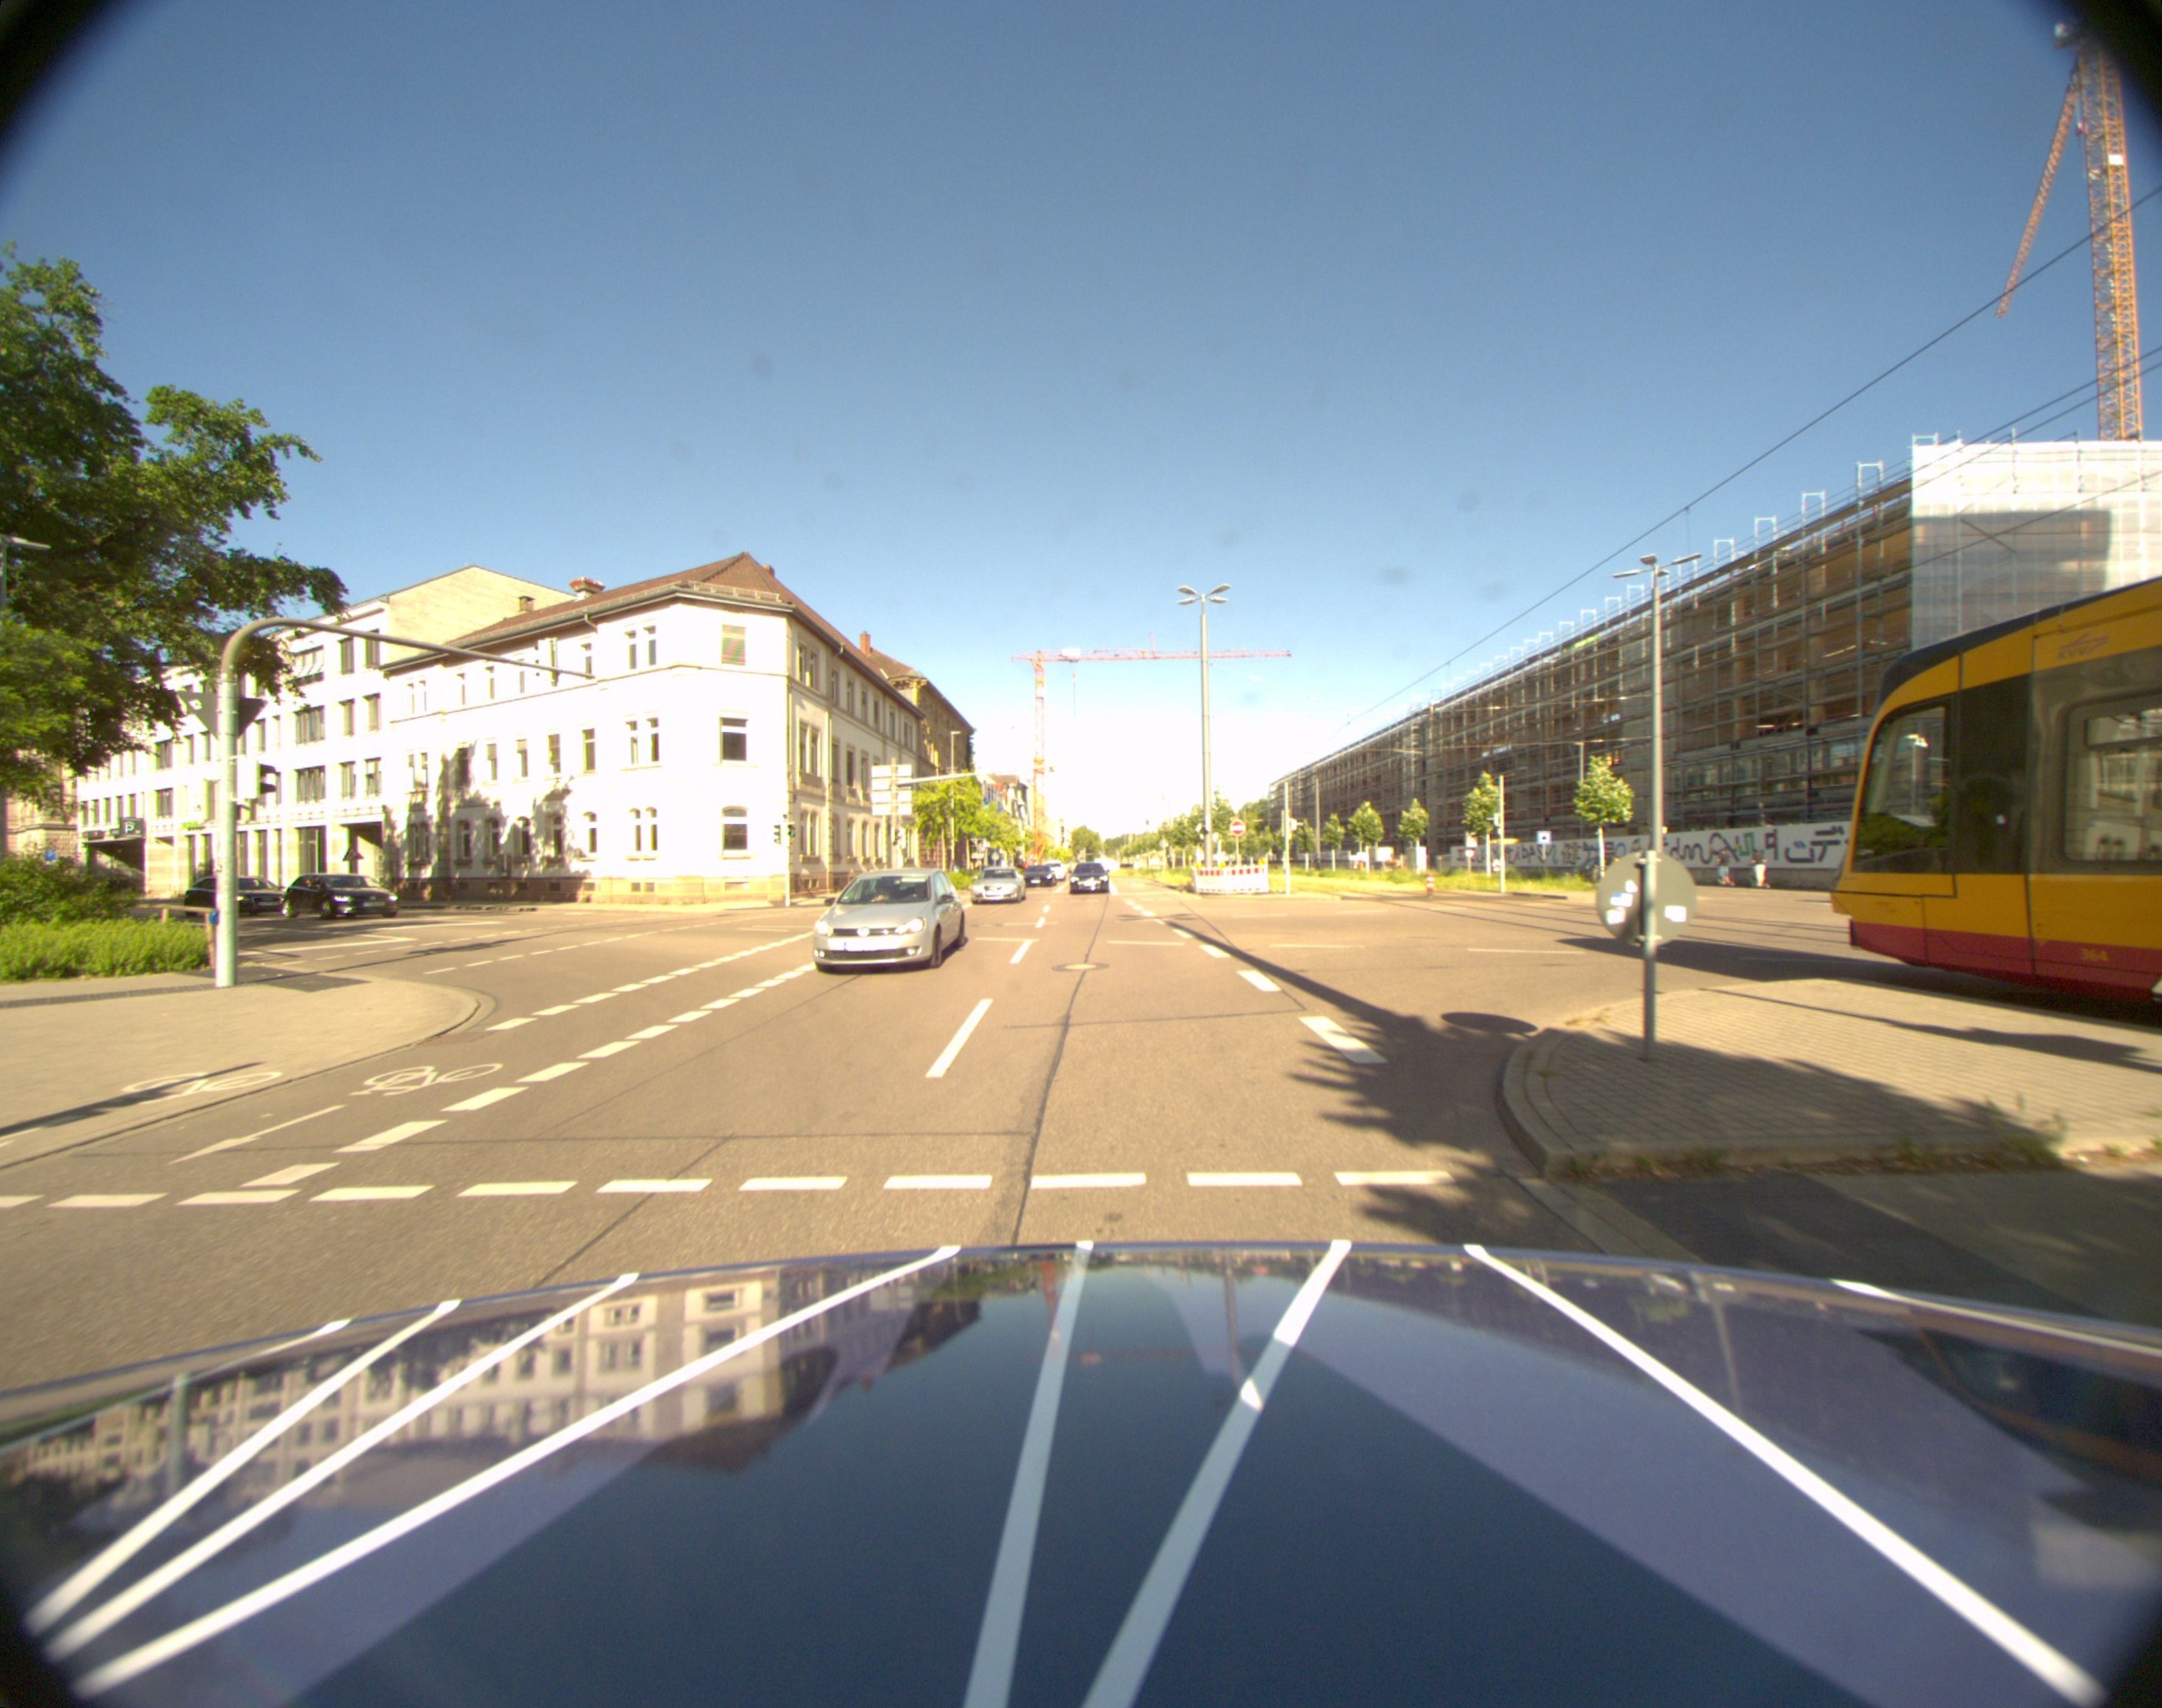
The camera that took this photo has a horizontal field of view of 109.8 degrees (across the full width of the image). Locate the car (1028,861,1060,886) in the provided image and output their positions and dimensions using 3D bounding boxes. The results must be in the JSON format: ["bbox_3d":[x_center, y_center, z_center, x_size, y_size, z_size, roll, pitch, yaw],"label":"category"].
[{"bbox_3d":[-2.322,1.223,48.026,1.703,1.415,4.000,-2,0,1],"label":"car"}]

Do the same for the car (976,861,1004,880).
[{"bbox_3d":[-6.967,1.248,58.385,1.610,1.434,4.000,0,0,1],"label":"car"}]

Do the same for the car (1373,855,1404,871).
[{"bbox_3d":[29.543,0.814,73.111,1.598,1.458,3.480,-2,0,0],"label":"car"}]

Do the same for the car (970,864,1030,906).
[{"bbox_3d":[-3.099,1.171,29.829,1.839,1.415,4.000,-2,0,1],"label":"car"}]

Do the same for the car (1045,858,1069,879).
[{"bbox_3d":[-1.952,1.157,61.643,1.703,1.622,4.000,-2,0,1],"label":"car"}]

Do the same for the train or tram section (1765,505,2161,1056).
[{"bbox_3d":[7.839,-0.503,1.066,1.998,3.647,14.157,-2,0,5],"label":"train or tram section"}]

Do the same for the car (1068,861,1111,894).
[{"bbox_3d":[0.367,1.109,37.383,1.999,1.493,3.999,0,0,-1],"label":"car"}]

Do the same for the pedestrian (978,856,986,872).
[{"bbox_3d":[-9.546,0.957,73.364,0.669,1.552,0.906,-2,0,-1],"label":"pedestrian"}]

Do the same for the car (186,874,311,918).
[{"bbox_3d":[-29.428,1.461,26.871,3.990,1.430,1.864,-1,-2,25],"label":"car"}]

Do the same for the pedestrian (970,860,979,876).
[{"bbox_3d":[-10.298,1.364,73.288,0.669,1.552,0.906,-2,0,-1],"label":"pedestrian"}]

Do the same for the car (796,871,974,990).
[{"bbox_3d":[-2.911,1.064,12.187,1.703,1.465,4.000,-2,0,1],"label":"car"}]

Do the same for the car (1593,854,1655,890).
[{"bbox_3d":[26.266,0.841,36.697,1.885,1.565,4.008,-2,0,43],"label":"car"}]

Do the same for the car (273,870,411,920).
[{"bbox_3d":[-23.299,1.303,23.965,3.990,1.472,1.737,-2,-3,24],"label":"car"}]
